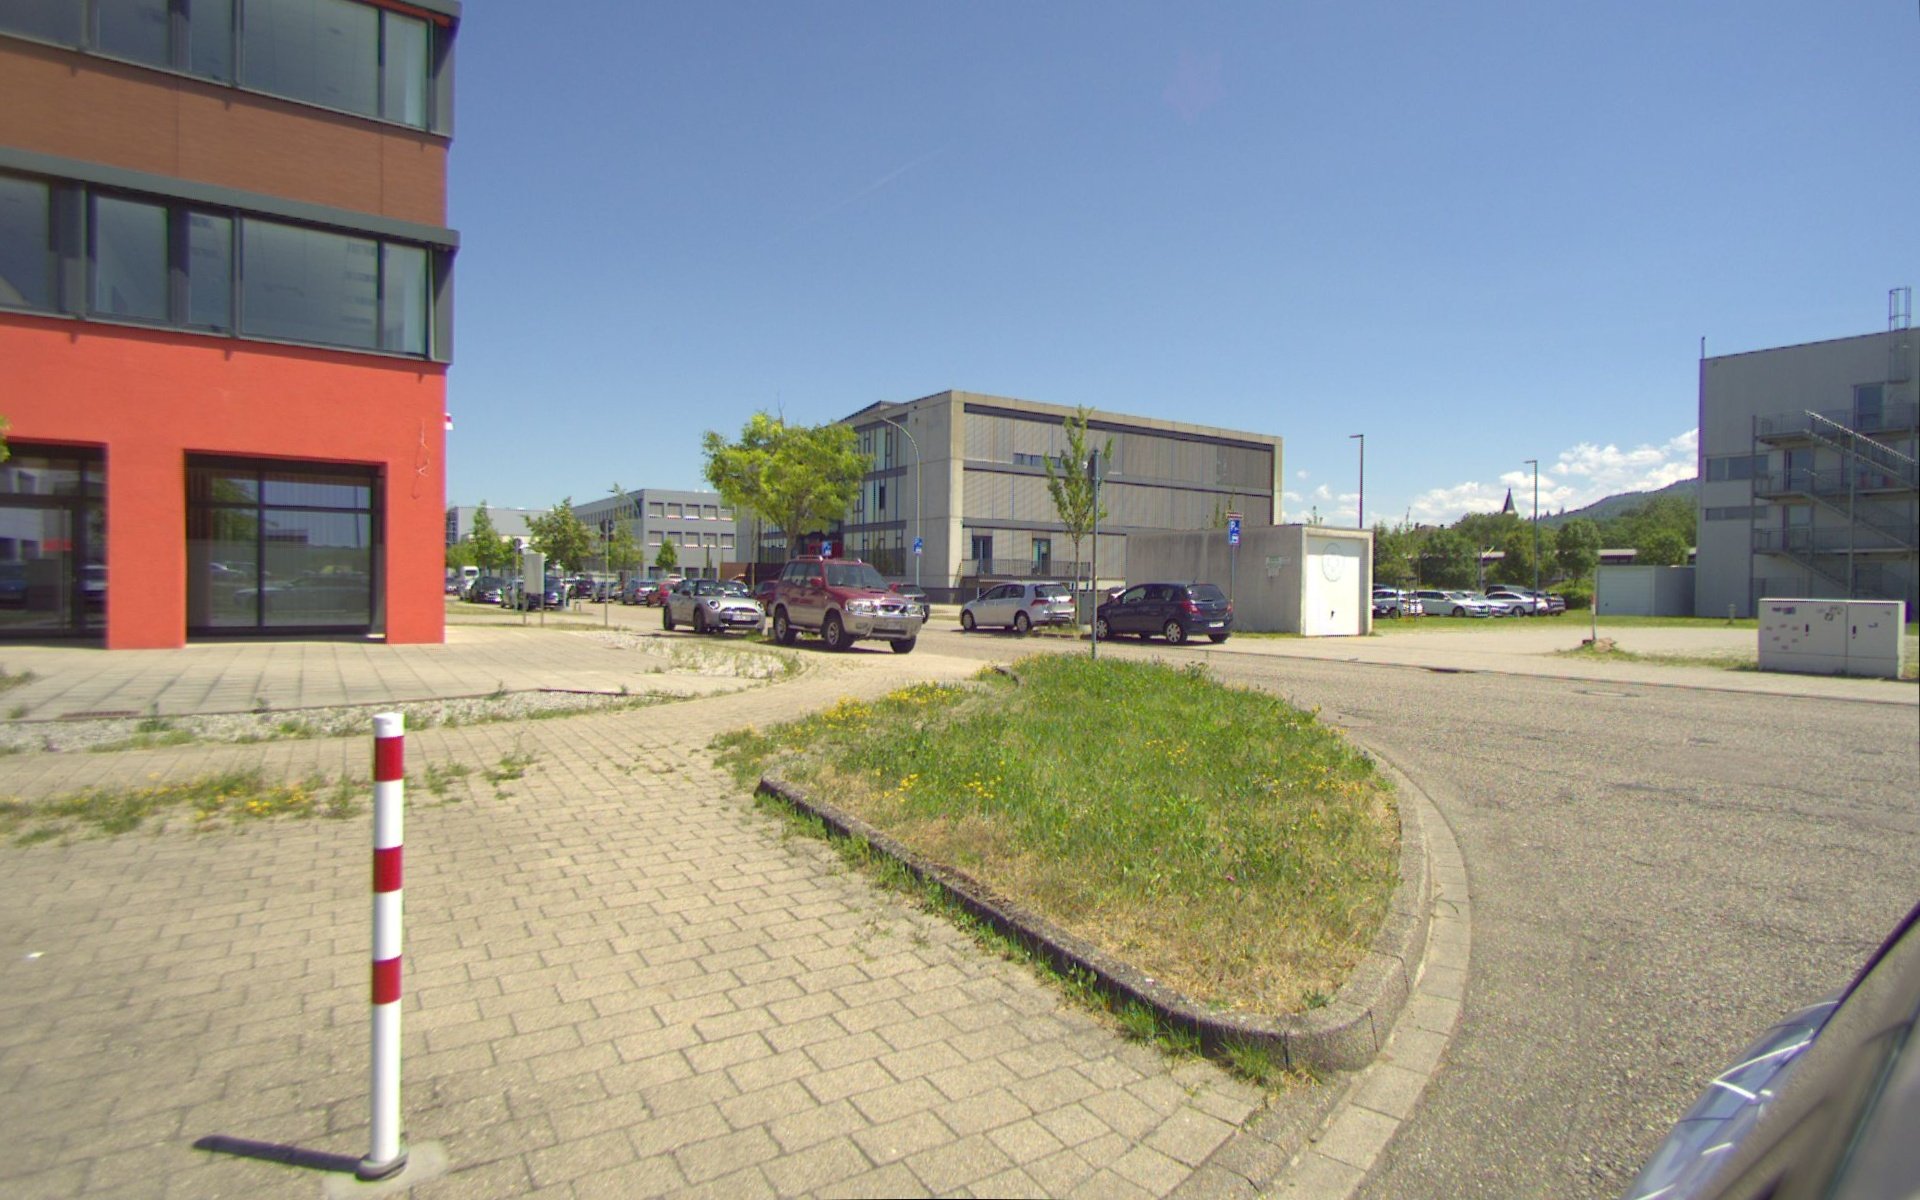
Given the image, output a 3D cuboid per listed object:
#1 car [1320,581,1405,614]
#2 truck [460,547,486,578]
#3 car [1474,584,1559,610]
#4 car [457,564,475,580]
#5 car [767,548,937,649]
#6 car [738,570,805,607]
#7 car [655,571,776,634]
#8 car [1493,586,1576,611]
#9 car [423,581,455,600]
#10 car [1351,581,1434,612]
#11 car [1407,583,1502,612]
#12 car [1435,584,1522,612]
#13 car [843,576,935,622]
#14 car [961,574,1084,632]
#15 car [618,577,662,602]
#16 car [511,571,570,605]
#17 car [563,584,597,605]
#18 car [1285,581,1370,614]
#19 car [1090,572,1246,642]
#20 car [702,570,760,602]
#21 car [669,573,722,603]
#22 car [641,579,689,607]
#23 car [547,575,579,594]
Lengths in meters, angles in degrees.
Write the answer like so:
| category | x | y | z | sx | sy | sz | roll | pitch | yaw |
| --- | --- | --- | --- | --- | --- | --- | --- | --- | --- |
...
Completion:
| category | x | y | z | sx | sy | sz | roll | pitch | yaw |
| --- | --- | --- | --- | --- | --- | --- | --- | --- | --- |
| car | 19.905 | -0.133 | 50.185 | 1.627 | 1.554 | 3.629 | -1 | 1 | -34 |
| truck | -58.204 | -4.402 | 120.921 | 1.768 | 3.631 | 7.437 | 0 | 1 | -33 |
| car | 32.475 | -0.179 | 59.153 | 1.627 | 1.443 | 4.058 | -1 | 1 | -34 |
| car | -65.452 | -3.668 | 134.029 | 1.862 | 2.039 | 4.004 | 0 | 1 | -30 |
| car | -2.270 | -0.015 | 20.341 | 1.775 | 1.798 | 4.002 | 2 | -1 | -32 |
| car | -8.426 | -0.538 | 45.015 | 1.627 | 1.487 | 3.630 | -3 | 3 | -33 |
| car | -6.441 | 0.028 | 26.414 | 1.753 | 1.460 | 3.708 | 3 | 0 | -35 |
| car | 34.692 | -0.110 | 61.207 | 1.627 | 1.404 | 4.058 | -1 | 1 | -34 |
| car | -41.746 | -0.756 | 81.051 | 1.754 | 1.460 | 3.708 | 0 | 1 | -35 |
| car | 22.034 | -0.223 | 51.636 | 1.627 | 1.519 | 3.629 | -1 | 1 | -34 |
| car | 26.670 | -0.164 | 54.742 | 1.676 | 1.485 | 4.373 | -1 | 1 | -34 |
| car | 28.701 | -0.147 | 56.126 | 1.627 | 1.485 | 4.058 | -1 | 1 | -34 |
| car | -2.566 | -0.073 | 35.895 | 1.627 | 1.487 | 3.630 | -3 | 3 | -33 |
| car | 1.762 | 0.036 | 29.509 | 1.628 | 1.519 | 3.628 | -3 | 3 | -35 |
| car | -19.999 | -0.683 | 63.219 | 1.627 | 1.487 | 3.629 | -3 | 3 | -33 |
| car | -19.161 | -0.549 | 46.155 | 1.754 | 1.460 | 3.708 | 0 | 1 | -35 |
| car | -29.182 | -0.424 | 77.609 | 1.627 | 1.487 | 3.629 | -3 | 3 | -33 |
| car | 17.759 | -0.142 | 49.040 | 1.627 | 1.519 | 3.629 | -1 | 1 | -34 |
| car | 5.008 | 0.113 | 24.774 | 1.652 | 1.519 | 3.629 | -3 | 3 | -34 |
| car | -11.459 | -0.716 | 50.479 | 1.627 | 1.487 | 3.630 | -3 | 3 | -33 |
| car | -14.378 | -0.674 | 54.892 | 1.627 | 1.487 | 3.629 | -3 | 3 | -33 |
| car | -17.277 | -0.435 | 59.133 | 1.627 | 1.487 | 3.629 | -3 | 3 | -33 |
| car | -32.218 | -1.274 | 82.140 | 1.627 | 1.487 | 3.629 | -3 | 3 | -33 |
